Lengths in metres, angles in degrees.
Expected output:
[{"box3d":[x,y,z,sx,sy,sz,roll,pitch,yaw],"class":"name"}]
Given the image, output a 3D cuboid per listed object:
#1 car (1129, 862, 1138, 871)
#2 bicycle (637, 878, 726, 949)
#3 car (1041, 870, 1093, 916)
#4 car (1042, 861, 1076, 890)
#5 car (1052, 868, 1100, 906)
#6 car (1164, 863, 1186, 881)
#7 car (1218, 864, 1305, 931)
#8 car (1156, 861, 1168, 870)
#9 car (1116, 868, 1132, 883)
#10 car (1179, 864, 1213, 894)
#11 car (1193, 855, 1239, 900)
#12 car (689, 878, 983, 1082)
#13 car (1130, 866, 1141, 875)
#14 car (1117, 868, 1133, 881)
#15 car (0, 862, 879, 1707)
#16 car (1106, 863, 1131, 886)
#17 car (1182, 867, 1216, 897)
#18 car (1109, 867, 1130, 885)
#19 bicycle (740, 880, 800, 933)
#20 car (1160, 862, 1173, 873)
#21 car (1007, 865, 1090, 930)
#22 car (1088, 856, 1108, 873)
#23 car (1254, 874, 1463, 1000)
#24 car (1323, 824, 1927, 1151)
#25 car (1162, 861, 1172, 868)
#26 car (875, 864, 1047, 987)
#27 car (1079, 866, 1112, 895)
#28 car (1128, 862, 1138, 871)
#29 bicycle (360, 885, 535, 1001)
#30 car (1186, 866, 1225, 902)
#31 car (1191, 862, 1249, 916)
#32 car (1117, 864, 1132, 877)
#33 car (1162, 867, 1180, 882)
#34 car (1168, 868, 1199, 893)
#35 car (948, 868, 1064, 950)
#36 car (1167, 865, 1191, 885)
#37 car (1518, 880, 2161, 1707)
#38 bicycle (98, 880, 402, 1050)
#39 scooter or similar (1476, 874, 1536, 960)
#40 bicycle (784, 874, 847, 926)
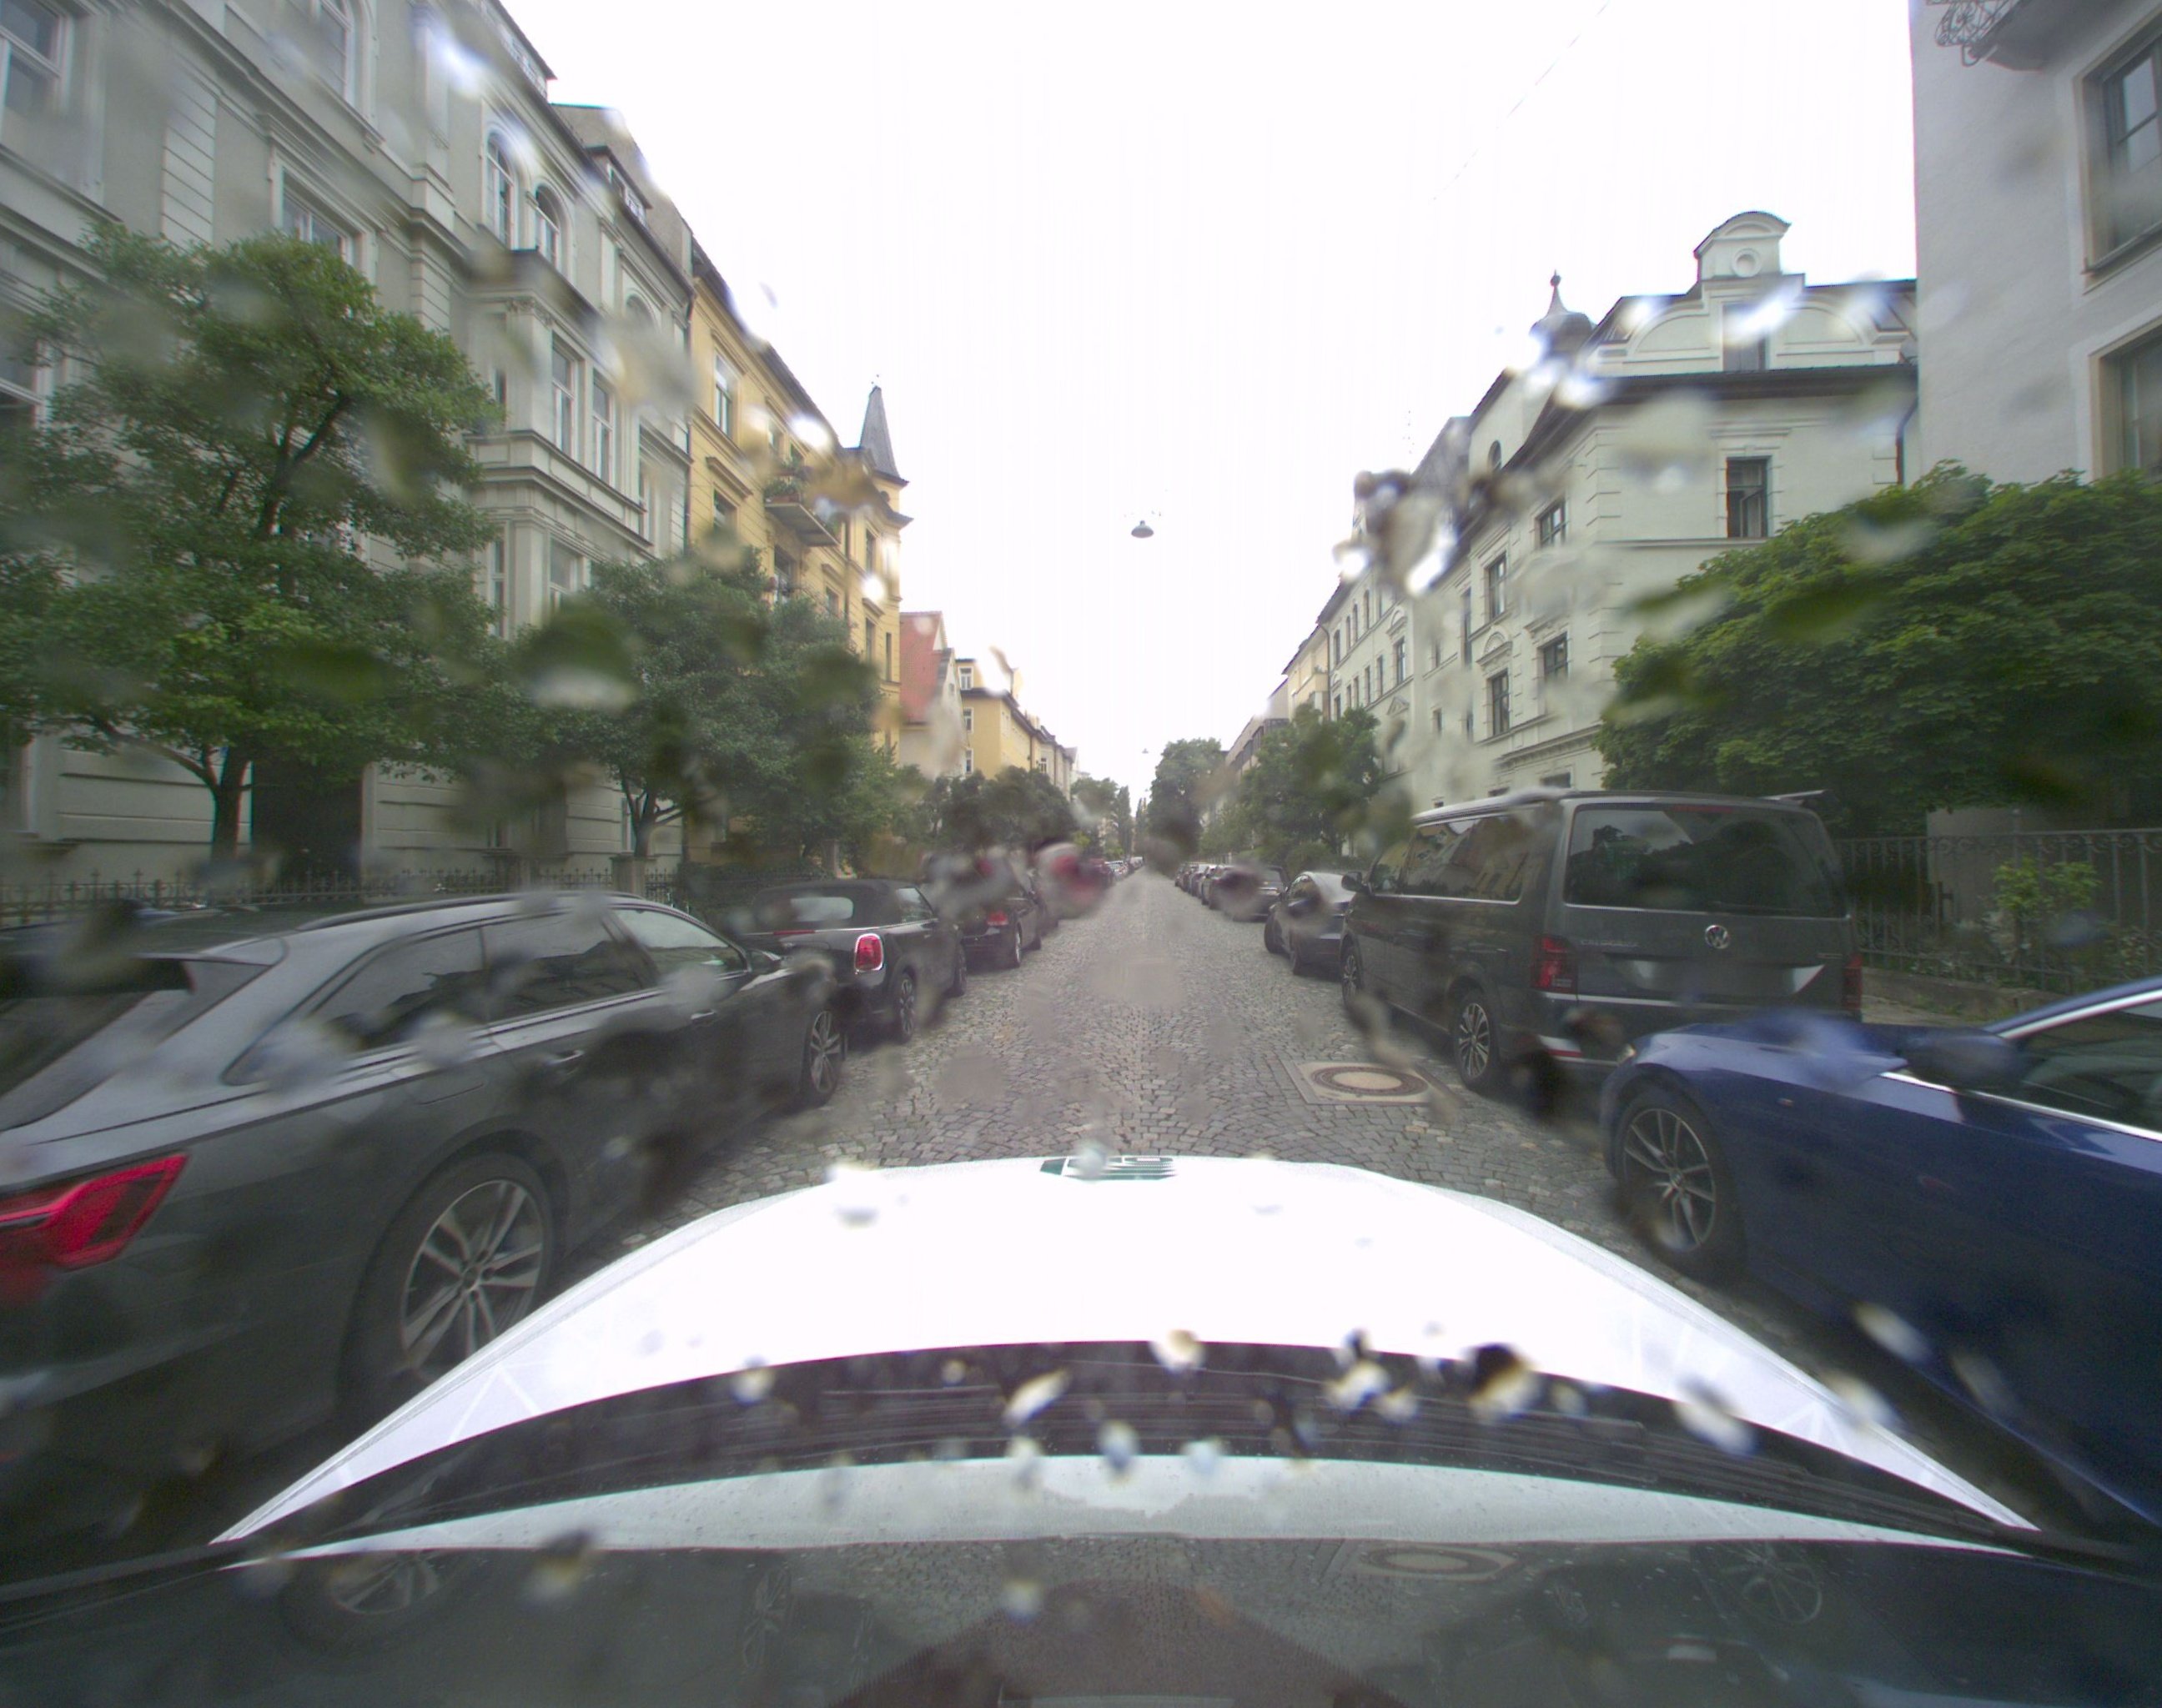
[{"box3d":[12.264,3.056,191.791,1.986,2.014,4.001,-1,-3,2],"class":"car"},{"box3d":[-6.776,0.978,13.901,0.369,1.102,1.838,0,-1,8],"class":"bicycle"},{"box3d":[-0.454,1.329,28.541,1.424,1.460,2.655,-4,-2,6],"class":"car"},{"box3d":[-1.284,1.300,49.478,1.771,1.635,3.741,0,-1,3],"class":"car"},{"box3d":[-0.170,1.389,35.039,1.652,1.534,3.490,-1,-1,6],"class":"car"},{"box3d":[9.602,1.823,83.159,1.913,1.635,3.742,-4,-2,4],"class":"car"},{"box3d":[4.929,1.145,22.752,1.912,1.635,4.052,1,-1,6],"class":"car"},{"box3d":[14.918,2.132,150.411,1.913,1.635,3.742,-4,-2,4],"class":"car"},{"box3d":[5.417,2.707,102.281,1.913,1.635,3.742,-4,-2,4],"class":"car"},{"box3d":[6.743,1.464,48.021,1.653,1.635,3.450,-4,-2,3],"class":"car"},{"box3d":[5.519,0.956,33.149,1.650,1.635,3.458,-4,-2,10],"class":"car"},{"box3d":[-2.210,1.074,8.439,1.696,1.516,3.729,-2,-1,3],"class":"car"},{"box3d":[10.625,3.254,158.628,1.913,1.635,3.742,-4,-2,4],"class":"car"},{"box3d":[5.802,2.728,107.431,1.913,1.635,3.742,-4,-2,4],"class":"car"},{"box3d":[-2.602,0.839,3.790,1.798,1.505,5.180,-3,-1,2],"class":"car"},{"box3d":[3.201,1.742,69.523,1.913,1.839,3.742,-4,-2,4],"class":"car"},{"box3d":[6.200,1.464,43.020,1.651,1.456,3.454,-4,-2,7],"class":"car"},{"box3d":[3.888,2.251,82.485,1.913,1.635,3.742,-4,-2,4],"class":"car"},{"box3d":[-6.454,1.065,16.972,0.416,1.027,1.767,1,-1,5],"class":"bicycle"},{"box3d":[13.955,2.290,132.966,1.913,1.635,3.742,-4,-2,4],"class":"car"},{"box3d":[-0.864,1.226,24.055,1.913,1.635,3.810,-4,-2,4],"class":"car"},{"box3d":[1.838,1.138,88.379,1.913,1.635,3.742,-4,-2,4],"class":"car"},{"box3d":[3.878,1.059,12.294,1.912,1.434,4.808,2,-1,5],"class":"car"},{"box3d":[3.546,0.719,6.698,2.012,1.690,4.856,0,-1,4],"class":"car"},{"box3d":[20.174,2.469,191.250,1.913,1.635,3.742,-4,-2,4],"class":"car"},{"box3d":[-1.710,1.021,13.114,1.719,1.540,4.341,-4,-2,4],"class":"car"},{"box3d":[0.914,1.586,48.816,1.914,1.635,3.740,0,-1,2],"class":"car"},{"box3d":[11.252,2.747,176.695,1.913,1.635,3.742,-4,-2,4],"class":"car"},{"box3d":[-7.066,0.943,9.210,0.361,1.133,1.889,1,-1,4],"class":"bicycle"},{"box3d":[5.802,1.370,37.973,1.588,1.503,3.269,-4,-2,8],"class":"car"},{"box3d":[4.509,1.122,26.878,1.652,1.635,3.545,-1,-1,6],"class":"car"},{"box3d":[6.092,2.316,113.610,1.913,1.635,3.742,-4,-2,4],"class":"car"},{"box3d":[11.068,2.511,99.888,1.913,1.635,3.742,-4,-2,4],"class":"car"},{"box3d":[6.662,1.692,53.080,1.653,1.465,3.450,-4,-2,3],"class":"car"},{"box3d":[-1.572,1.167,18.593,1.913,1.546,4.004,-4,-2,4],"class":"car"},{"box3d":[9.032,1.942,75.220,1.913,1.635,3.742,-4,-2,4],"class":"car"},{"box3d":[2.960,0.843,1.538,1.921,1.507,4.879,1,-1,4],"class":"car"},{"box3d":[-7.123,0.869,7.161,0.498,1.249,1.981,1,-1,4],"class":"bicycle"},{"box3d":[7.042,1.010,13.456,0.622,1.333,1.613,-4,-3,34],"class":"scooter or similar"},{"box3d":[-6.102,1.034,18.793,0.415,1.143,1.772,0,-1,17],"class":"bicycle"}]
